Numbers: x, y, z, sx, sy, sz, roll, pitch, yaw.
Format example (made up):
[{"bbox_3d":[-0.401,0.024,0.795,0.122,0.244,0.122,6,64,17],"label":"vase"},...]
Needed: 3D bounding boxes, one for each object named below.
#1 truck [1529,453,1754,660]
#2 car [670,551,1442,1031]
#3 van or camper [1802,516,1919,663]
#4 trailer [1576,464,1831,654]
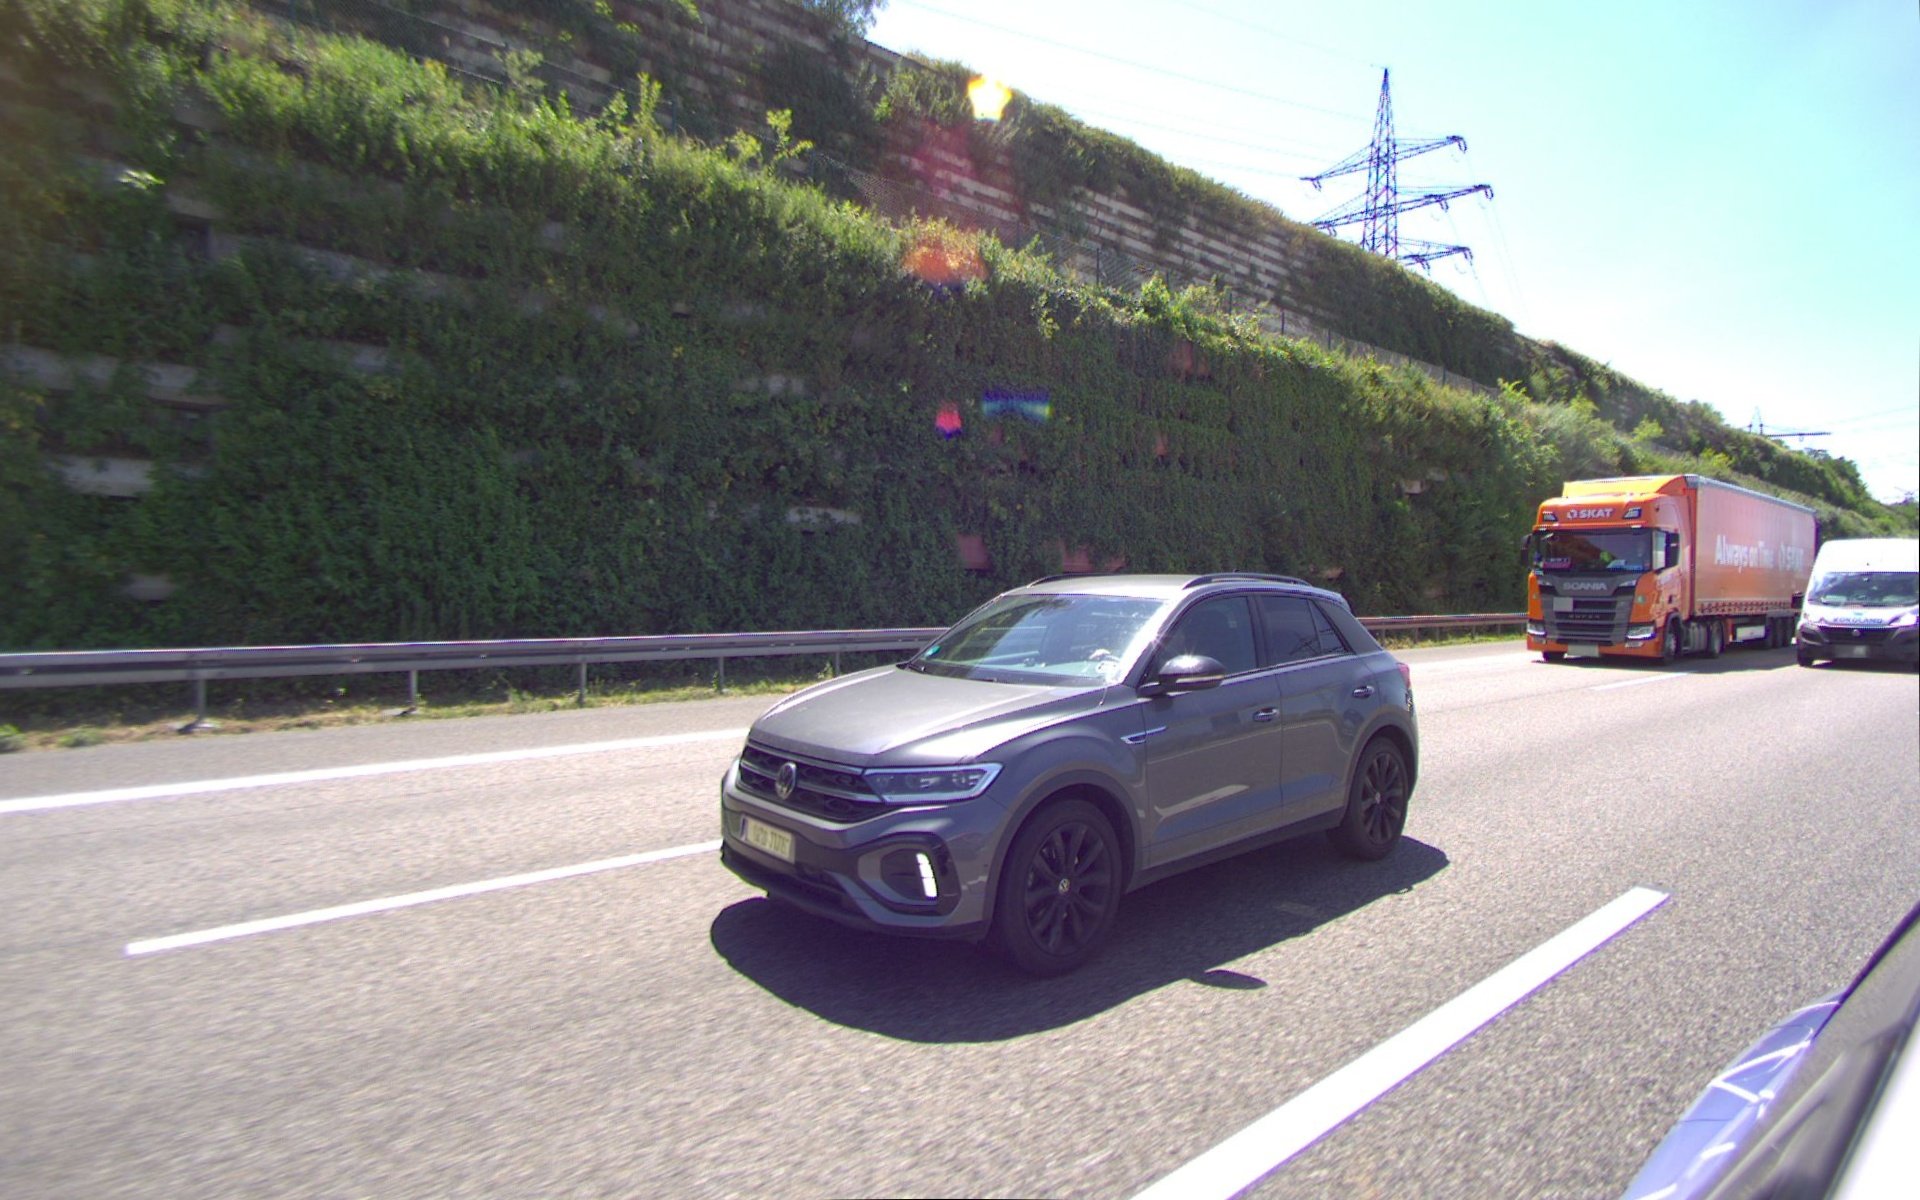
[{"bbox_3d":[15.497,-0.894,22.833,6.412,4.042,2.622,0,1,-41],"label":"truck"},{"bbox_3d":[0.734,0.573,5.211,3.926,1.544,1.752,-1,2,-41],"label":"car"},{"bbox_3d":[20.266,-0.228,21.947,6.640,2.803,2.100,0,1,-42],"label":"van or camper"},{"bbox_3d":[20.283,-0.938,27.020,13.369,4.055,2.650,0,1,-41],"label":"trailer"}]
